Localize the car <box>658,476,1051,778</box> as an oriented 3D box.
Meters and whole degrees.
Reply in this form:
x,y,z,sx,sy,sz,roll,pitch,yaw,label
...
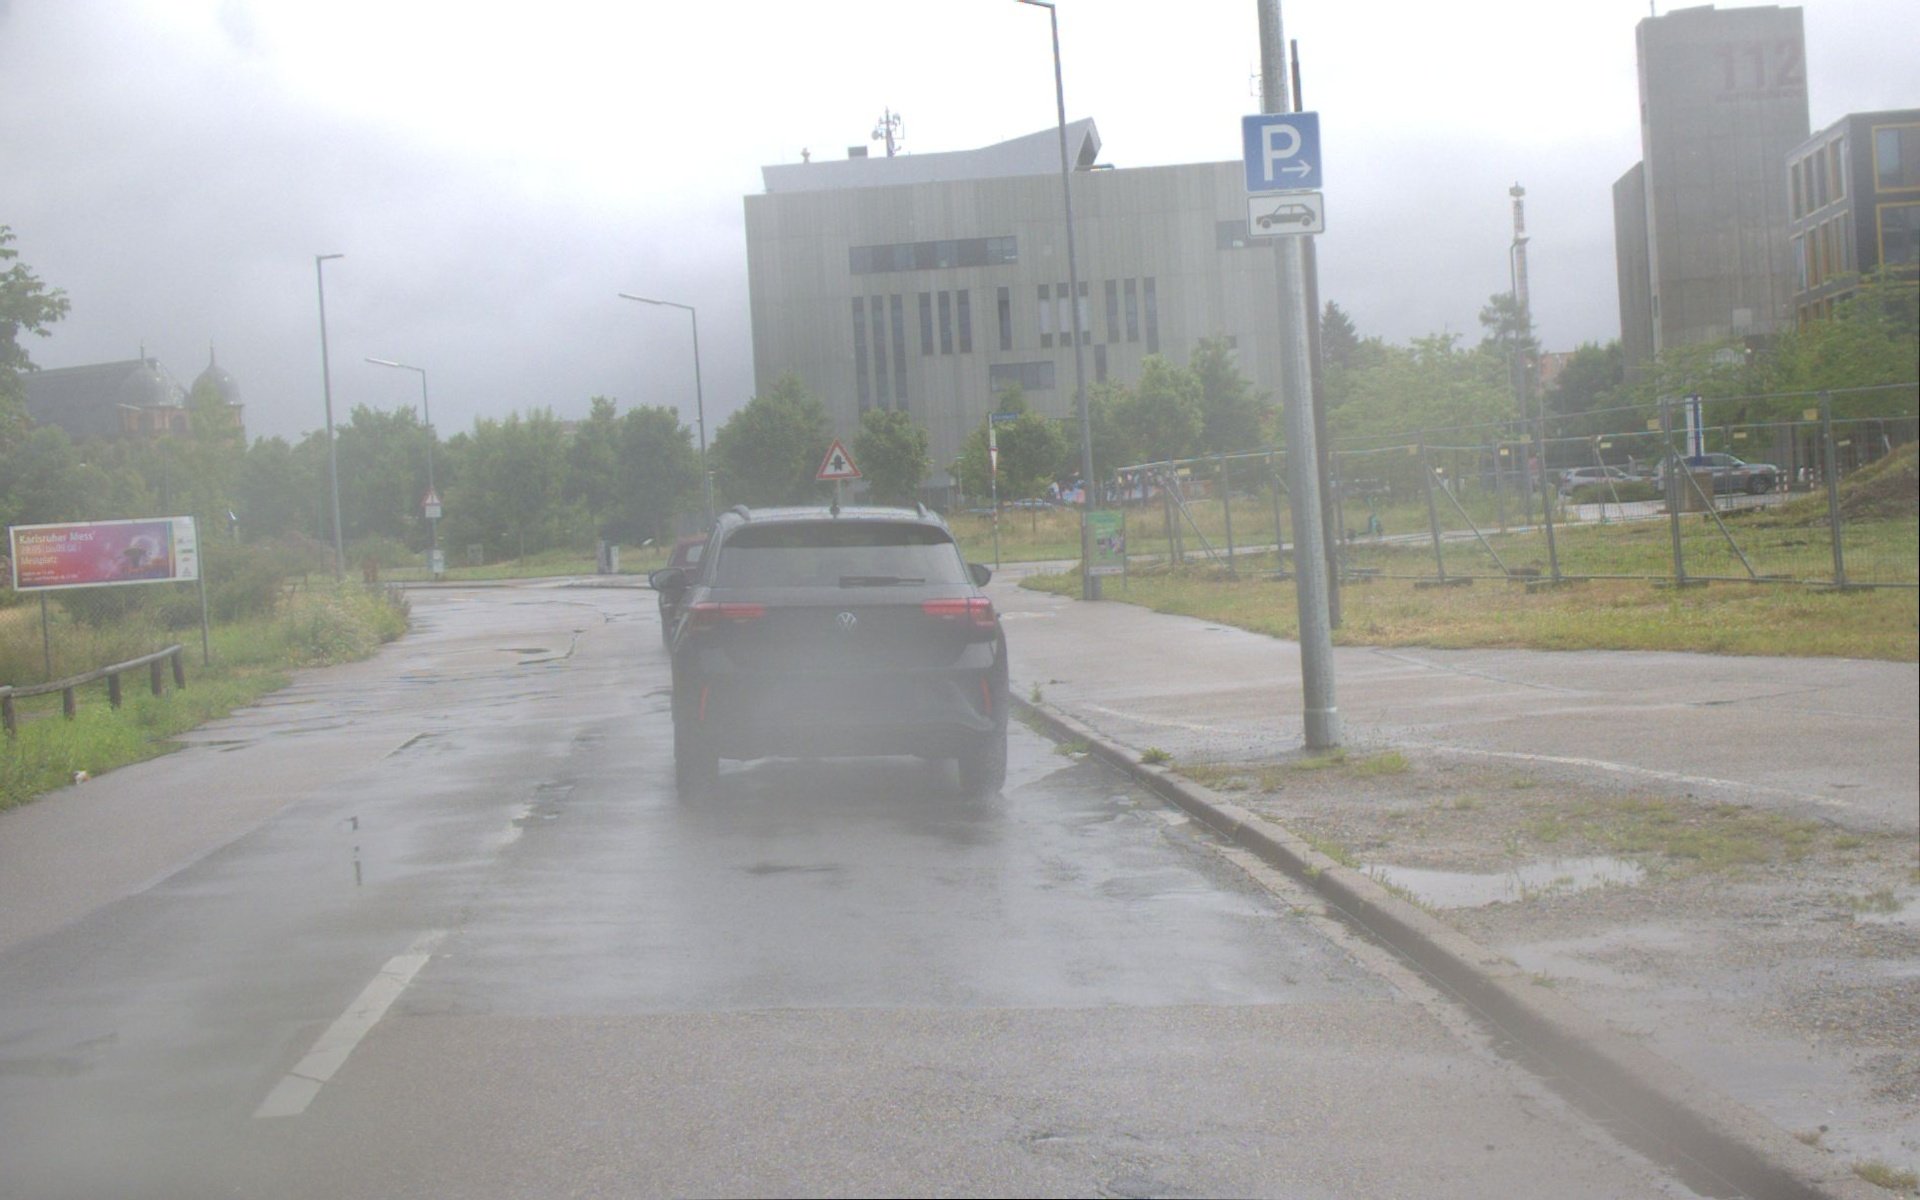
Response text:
x,y,z,sx,sy,sz,roll,pitch,yaw,label
-0.687,0.069,19.469,1.986,1.515,4.001,-1,2,-4,car

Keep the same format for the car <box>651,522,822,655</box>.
x,y,z,sx,sy,sz,roll,pitch,yaw,label
-2.922,-0.187,44.248,1.841,1.437,4.001,-6,2,-7,car
